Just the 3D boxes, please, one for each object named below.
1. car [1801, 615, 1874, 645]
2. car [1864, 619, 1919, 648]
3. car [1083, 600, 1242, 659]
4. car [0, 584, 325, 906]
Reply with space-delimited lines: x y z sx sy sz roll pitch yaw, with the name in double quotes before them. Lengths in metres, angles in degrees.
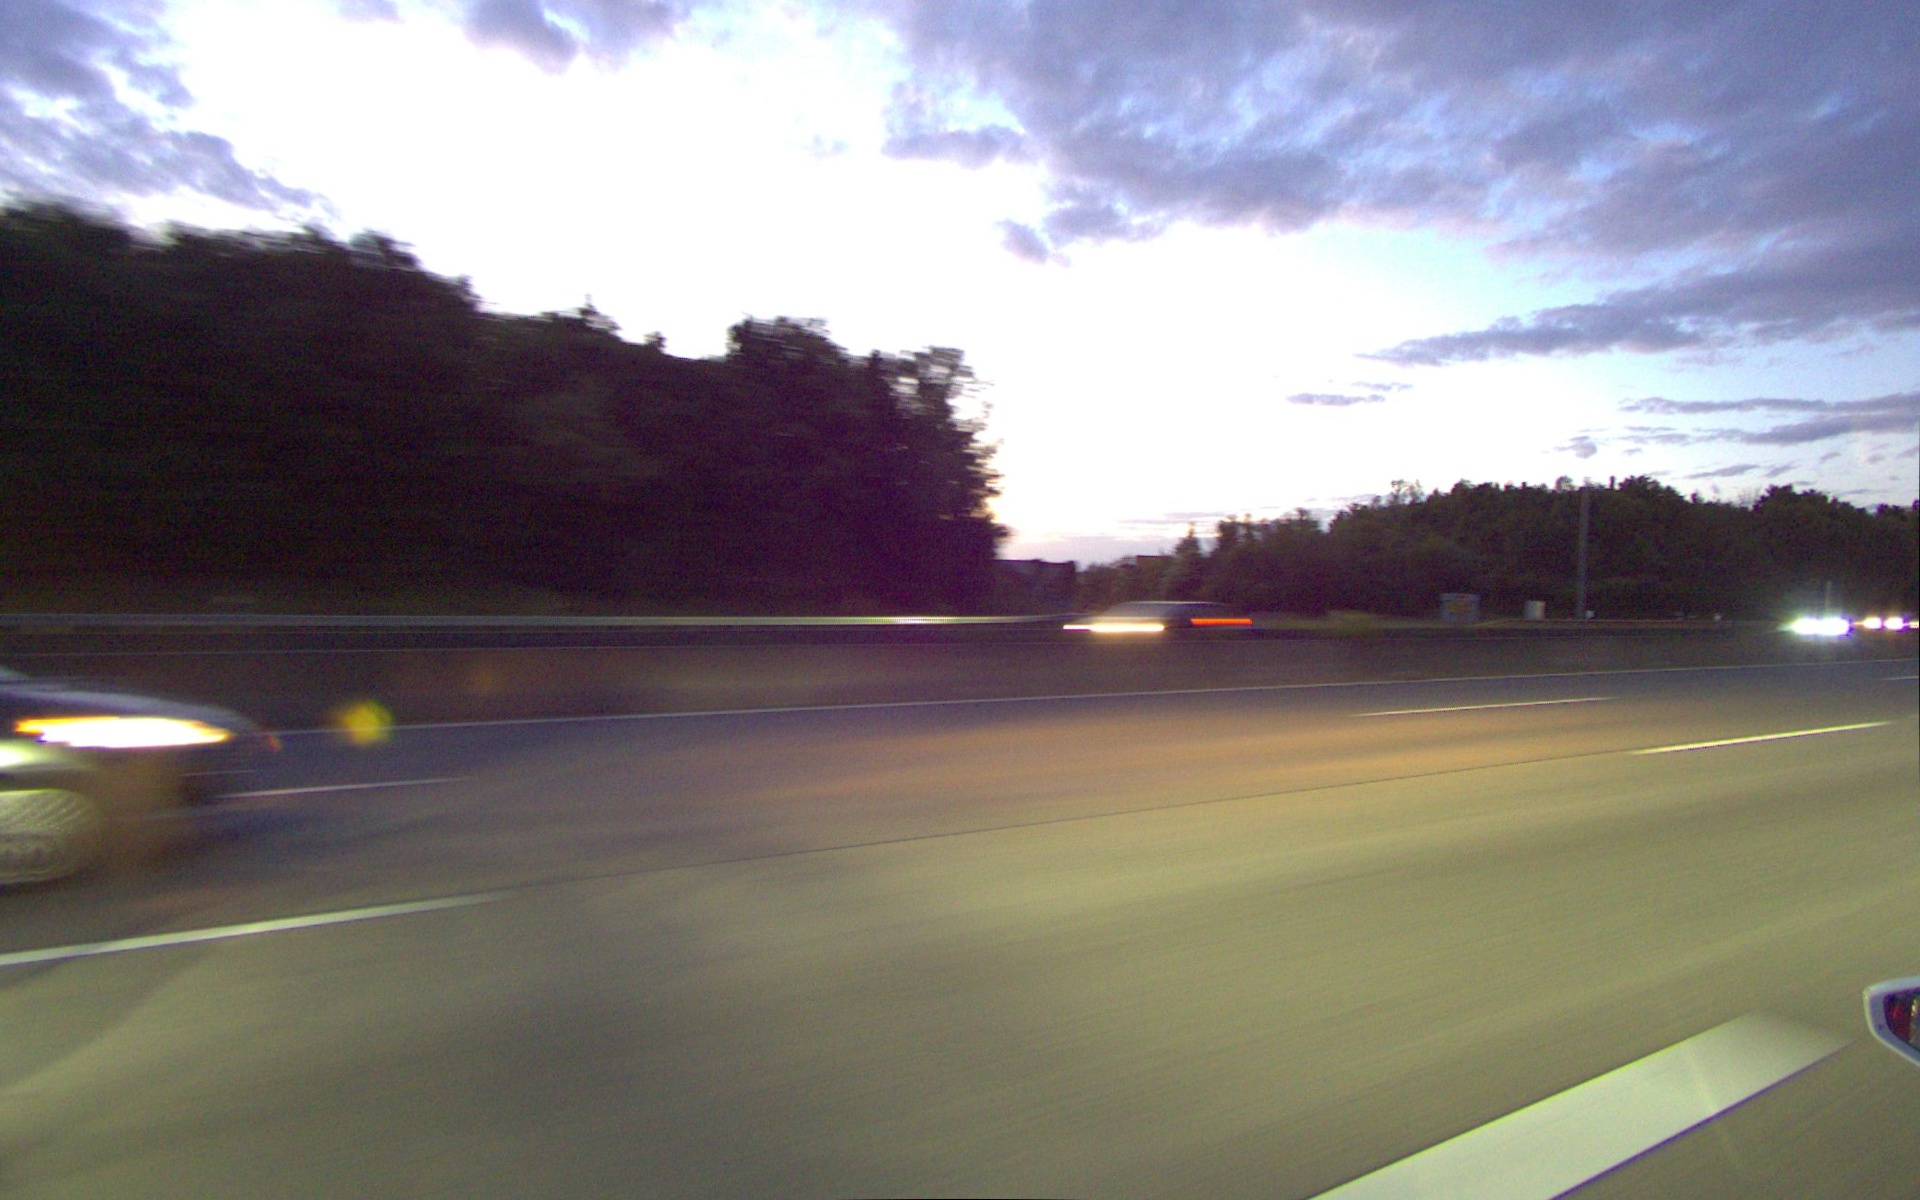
"car" 49.496 1.675 56.648 3.953 1.567 1.984 1 0 -31
"car" 67.662 2.422 72.907 4.193 2.040 2.016 1 0 -33
"car" 6.110 0.867 30.218 4.504 1.631 1.985 1 0 -29
"car" -5.919 0.663 5.050 4.495 1.518 1.984 1 0 -31
